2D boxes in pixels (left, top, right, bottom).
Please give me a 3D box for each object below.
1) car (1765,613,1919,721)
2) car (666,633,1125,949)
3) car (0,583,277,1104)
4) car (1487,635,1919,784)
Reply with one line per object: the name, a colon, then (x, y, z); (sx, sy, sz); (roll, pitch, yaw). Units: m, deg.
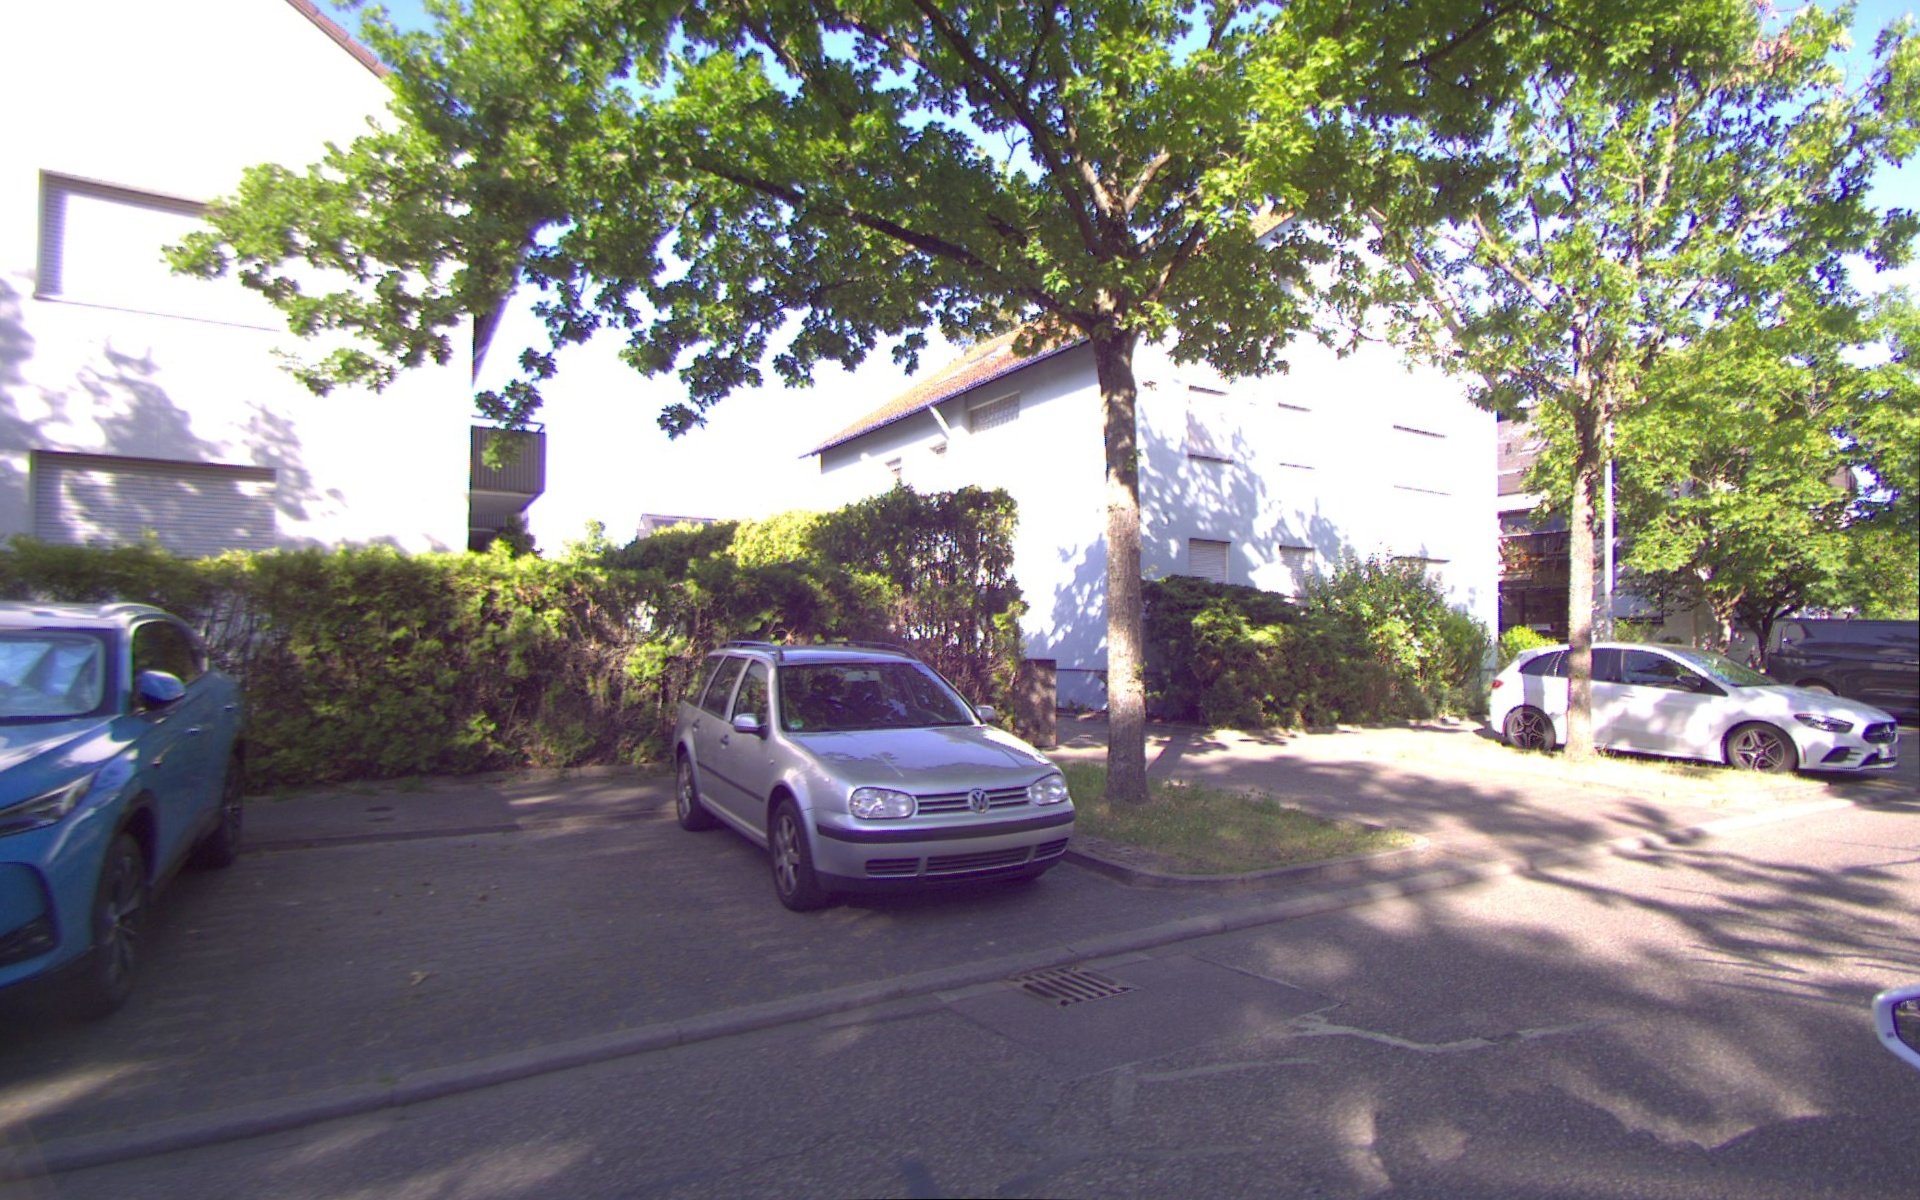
car: (18.157, 1.223, 18.526); (1.996, 1.942, 4.754); (1, -3, -32)
car: (-0.777, 1.024, 7.192); (1.627, 1.511, 4.163); (2, -2, -30)
car: (-4.772, 0.746, 4.838); (1.914, 1.653, 4.505); (2, -1, -28)
car: (9.414, 1.263, 13.086); (1.748, 1.497, 4.256); (1, -1, -30)
